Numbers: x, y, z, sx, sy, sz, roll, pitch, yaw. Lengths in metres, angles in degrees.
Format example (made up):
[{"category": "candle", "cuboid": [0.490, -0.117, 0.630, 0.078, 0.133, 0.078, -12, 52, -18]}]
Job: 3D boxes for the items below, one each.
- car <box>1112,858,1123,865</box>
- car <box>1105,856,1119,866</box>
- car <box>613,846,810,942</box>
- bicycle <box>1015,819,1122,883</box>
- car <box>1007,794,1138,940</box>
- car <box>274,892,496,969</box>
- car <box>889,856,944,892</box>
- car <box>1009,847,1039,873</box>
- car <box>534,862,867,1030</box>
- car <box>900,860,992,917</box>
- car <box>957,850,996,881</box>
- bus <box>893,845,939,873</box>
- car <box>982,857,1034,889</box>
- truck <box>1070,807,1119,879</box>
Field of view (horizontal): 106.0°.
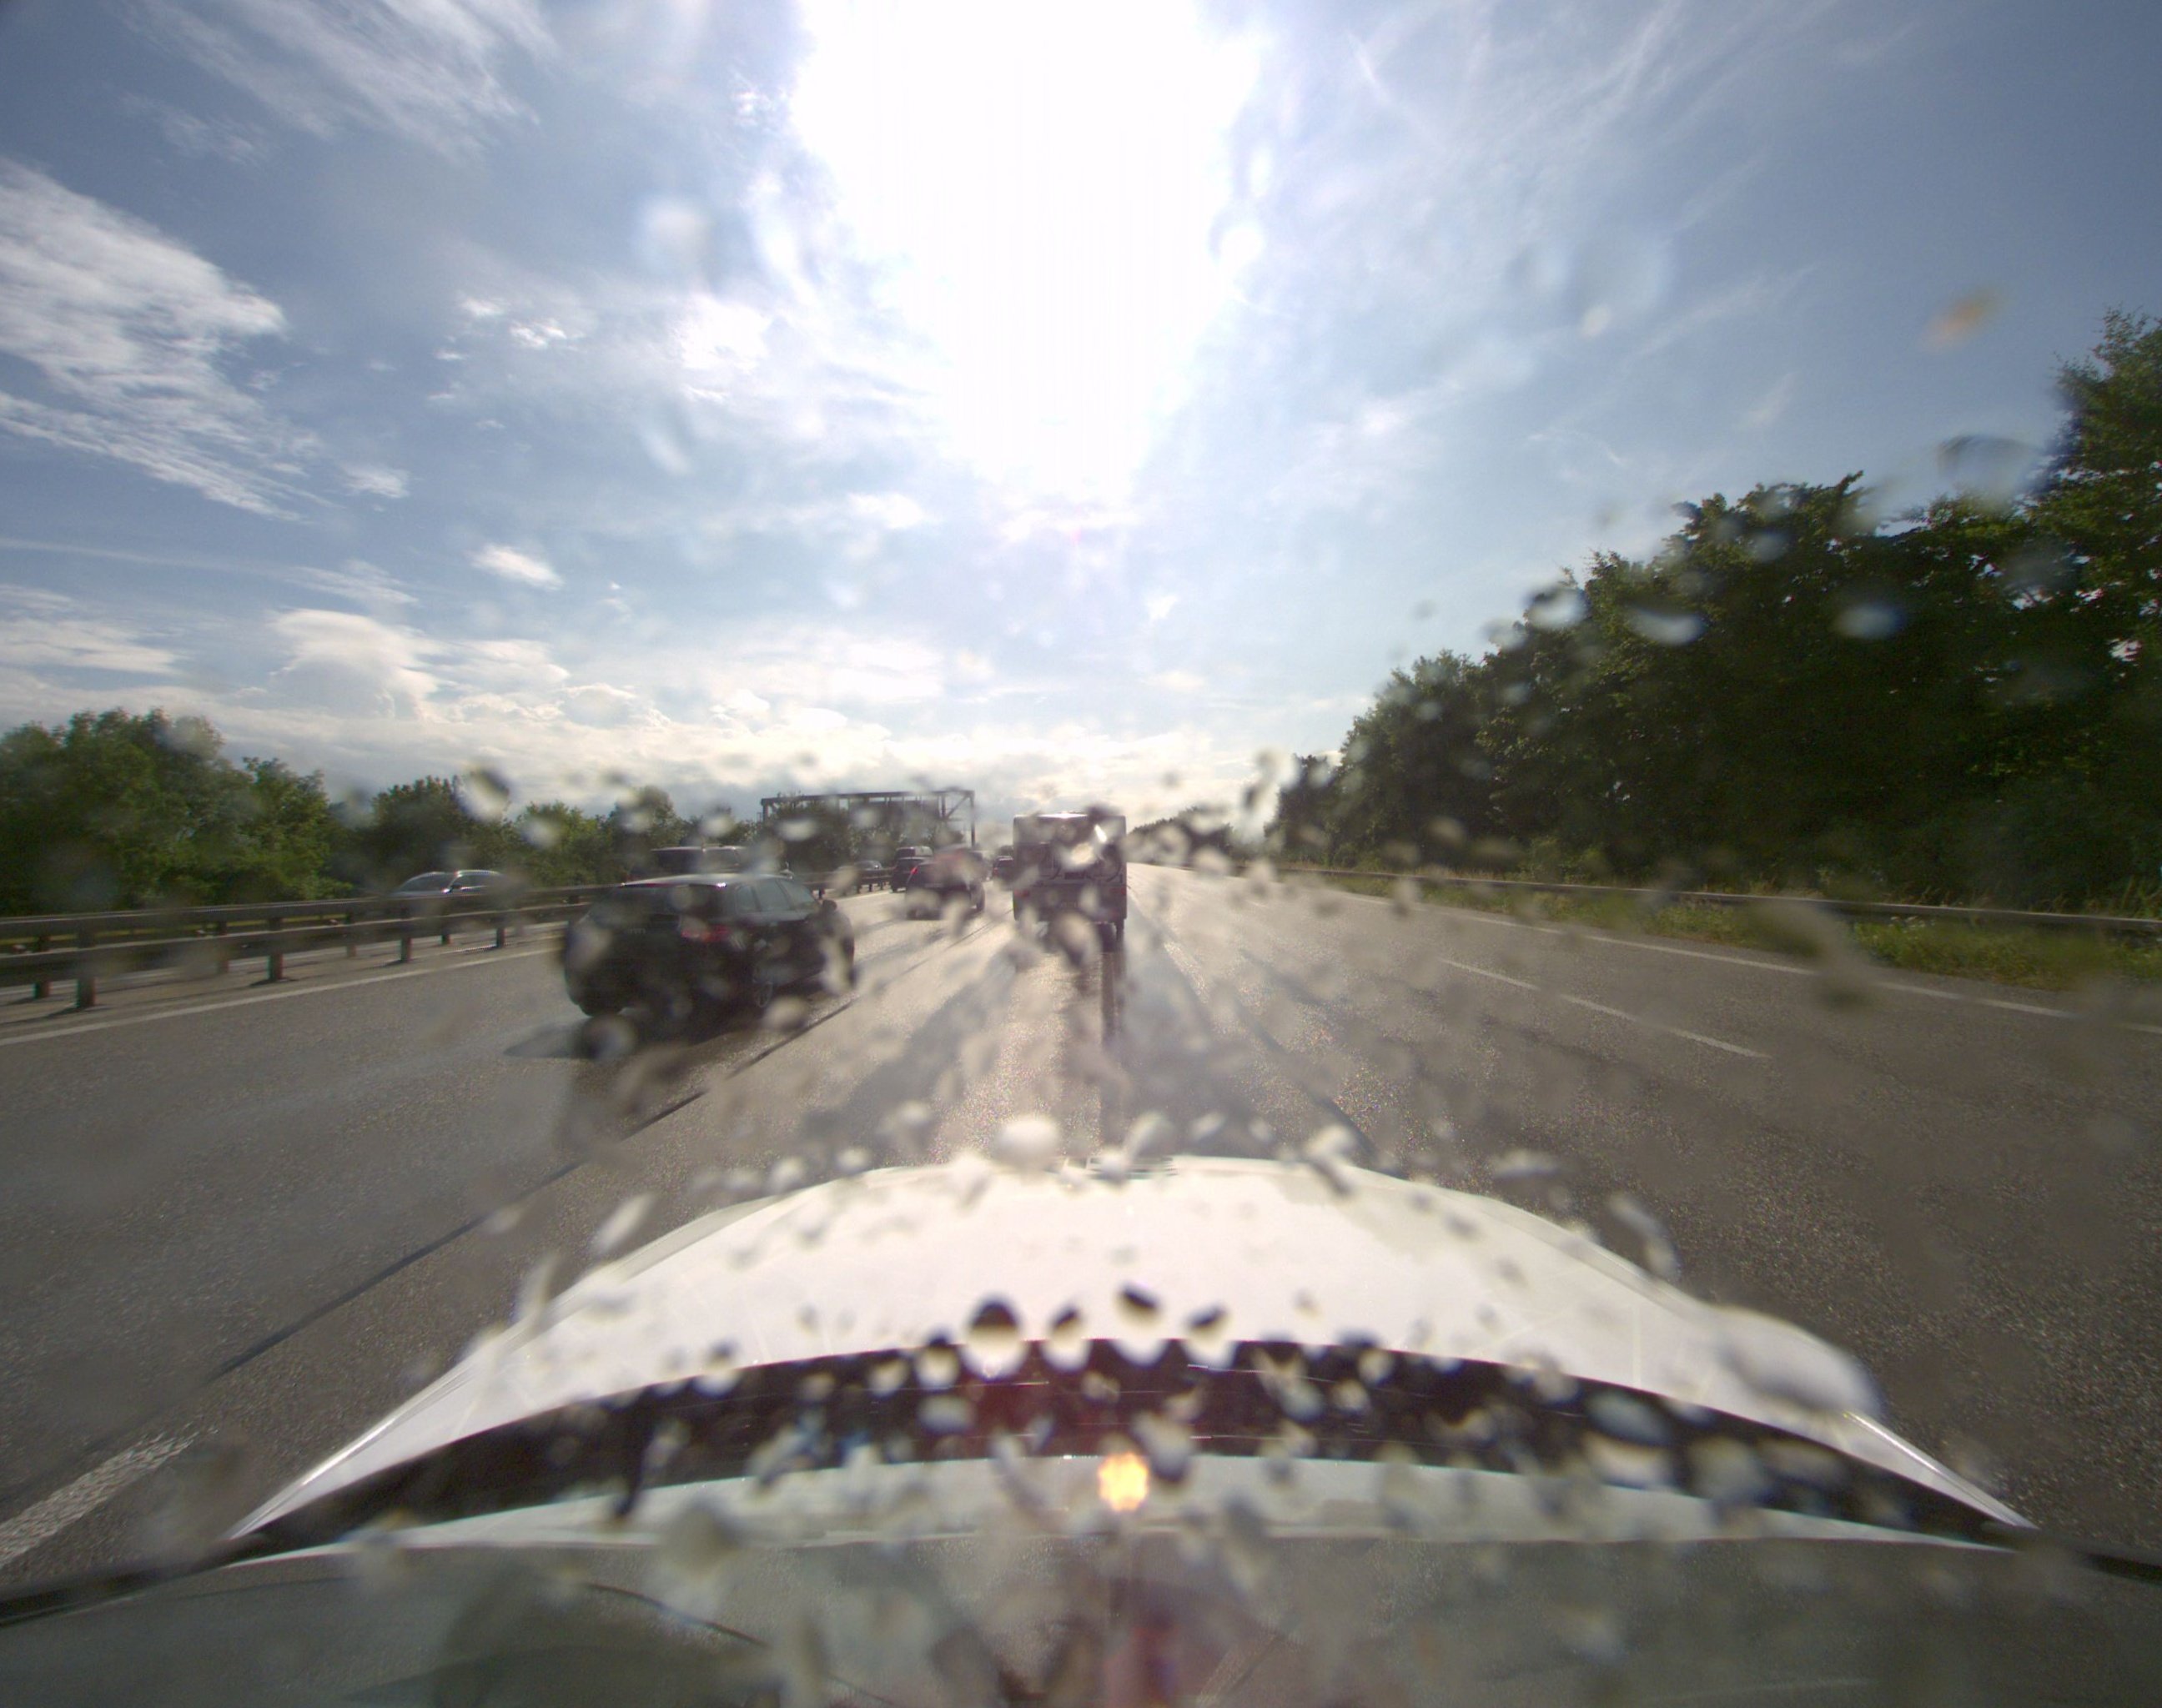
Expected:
[{"category": "car", "cuboid": [7.275, 1.461, 161.136, 1.872, 1.494, 3.996, 0, 0, -2]}, {"category": "car", "cuboid": [4.915, 1.113, 129.490, 1.831, 1.558, 3.996, 0, -1, -2]}, {"category": "car", "cuboid": [-8.070, 0.778, 18.503, 1.799, 1.844, 5.421, -1, 0, 2]}, {"category": "bicycle", "cuboid": [-0.219, -0.048, 14.835, 1.926, 1.141, 0.384, 0, -1, 2]}, {"category": "car", "cuboid": [-0.073, 0.250, 17.041, 2.401, 2.674, 4.002, 0, -1, 2]}, {"category": "car", "cuboid": [-19.134, 2.024, 22.765, 1.987, 1.684, 4.827, -1, 0, 1]}, {"category": "car", "cuboid": [-7.848, 0.915, 39.119, 1.777, 1.578, 3.916, -1, 0, 0]}, {"category": "car", "cuboid": [-3.785, 0.371, 54.438, 1.683, 1.662, 3.641, -1, 0, 1]}, {"category": "car", "cuboid": [-3.914, 0.842, 9.253, 1.743, 1.433, 4.056, -1, 0, 2]}, {"category": "car", "cuboid": [-3.716, 0.902, 23.098, 1.752, 1.443, 4.002, -1, 0, 2]}, {"category": "car", "cuboid": [-6.869, 0.726, 54.014, 1.841, 1.934, 5.017, -1, 0, 1]}, {"category": "bus", "cuboid": [-21.177, 0.670, 105.333, 2.880, 3.374, 12.475, -1, 0, 2]}, {"category": "car", "cuboid": [-3.488, 0.899, 39.520, 1.980, 1.458, 3.828, -1, 0, 2]}, {"category": "truck", "cuboid": [0.931, -0.690, 57.912, 3.135, 4.626, 10.735, -1, 0, 1]}]
